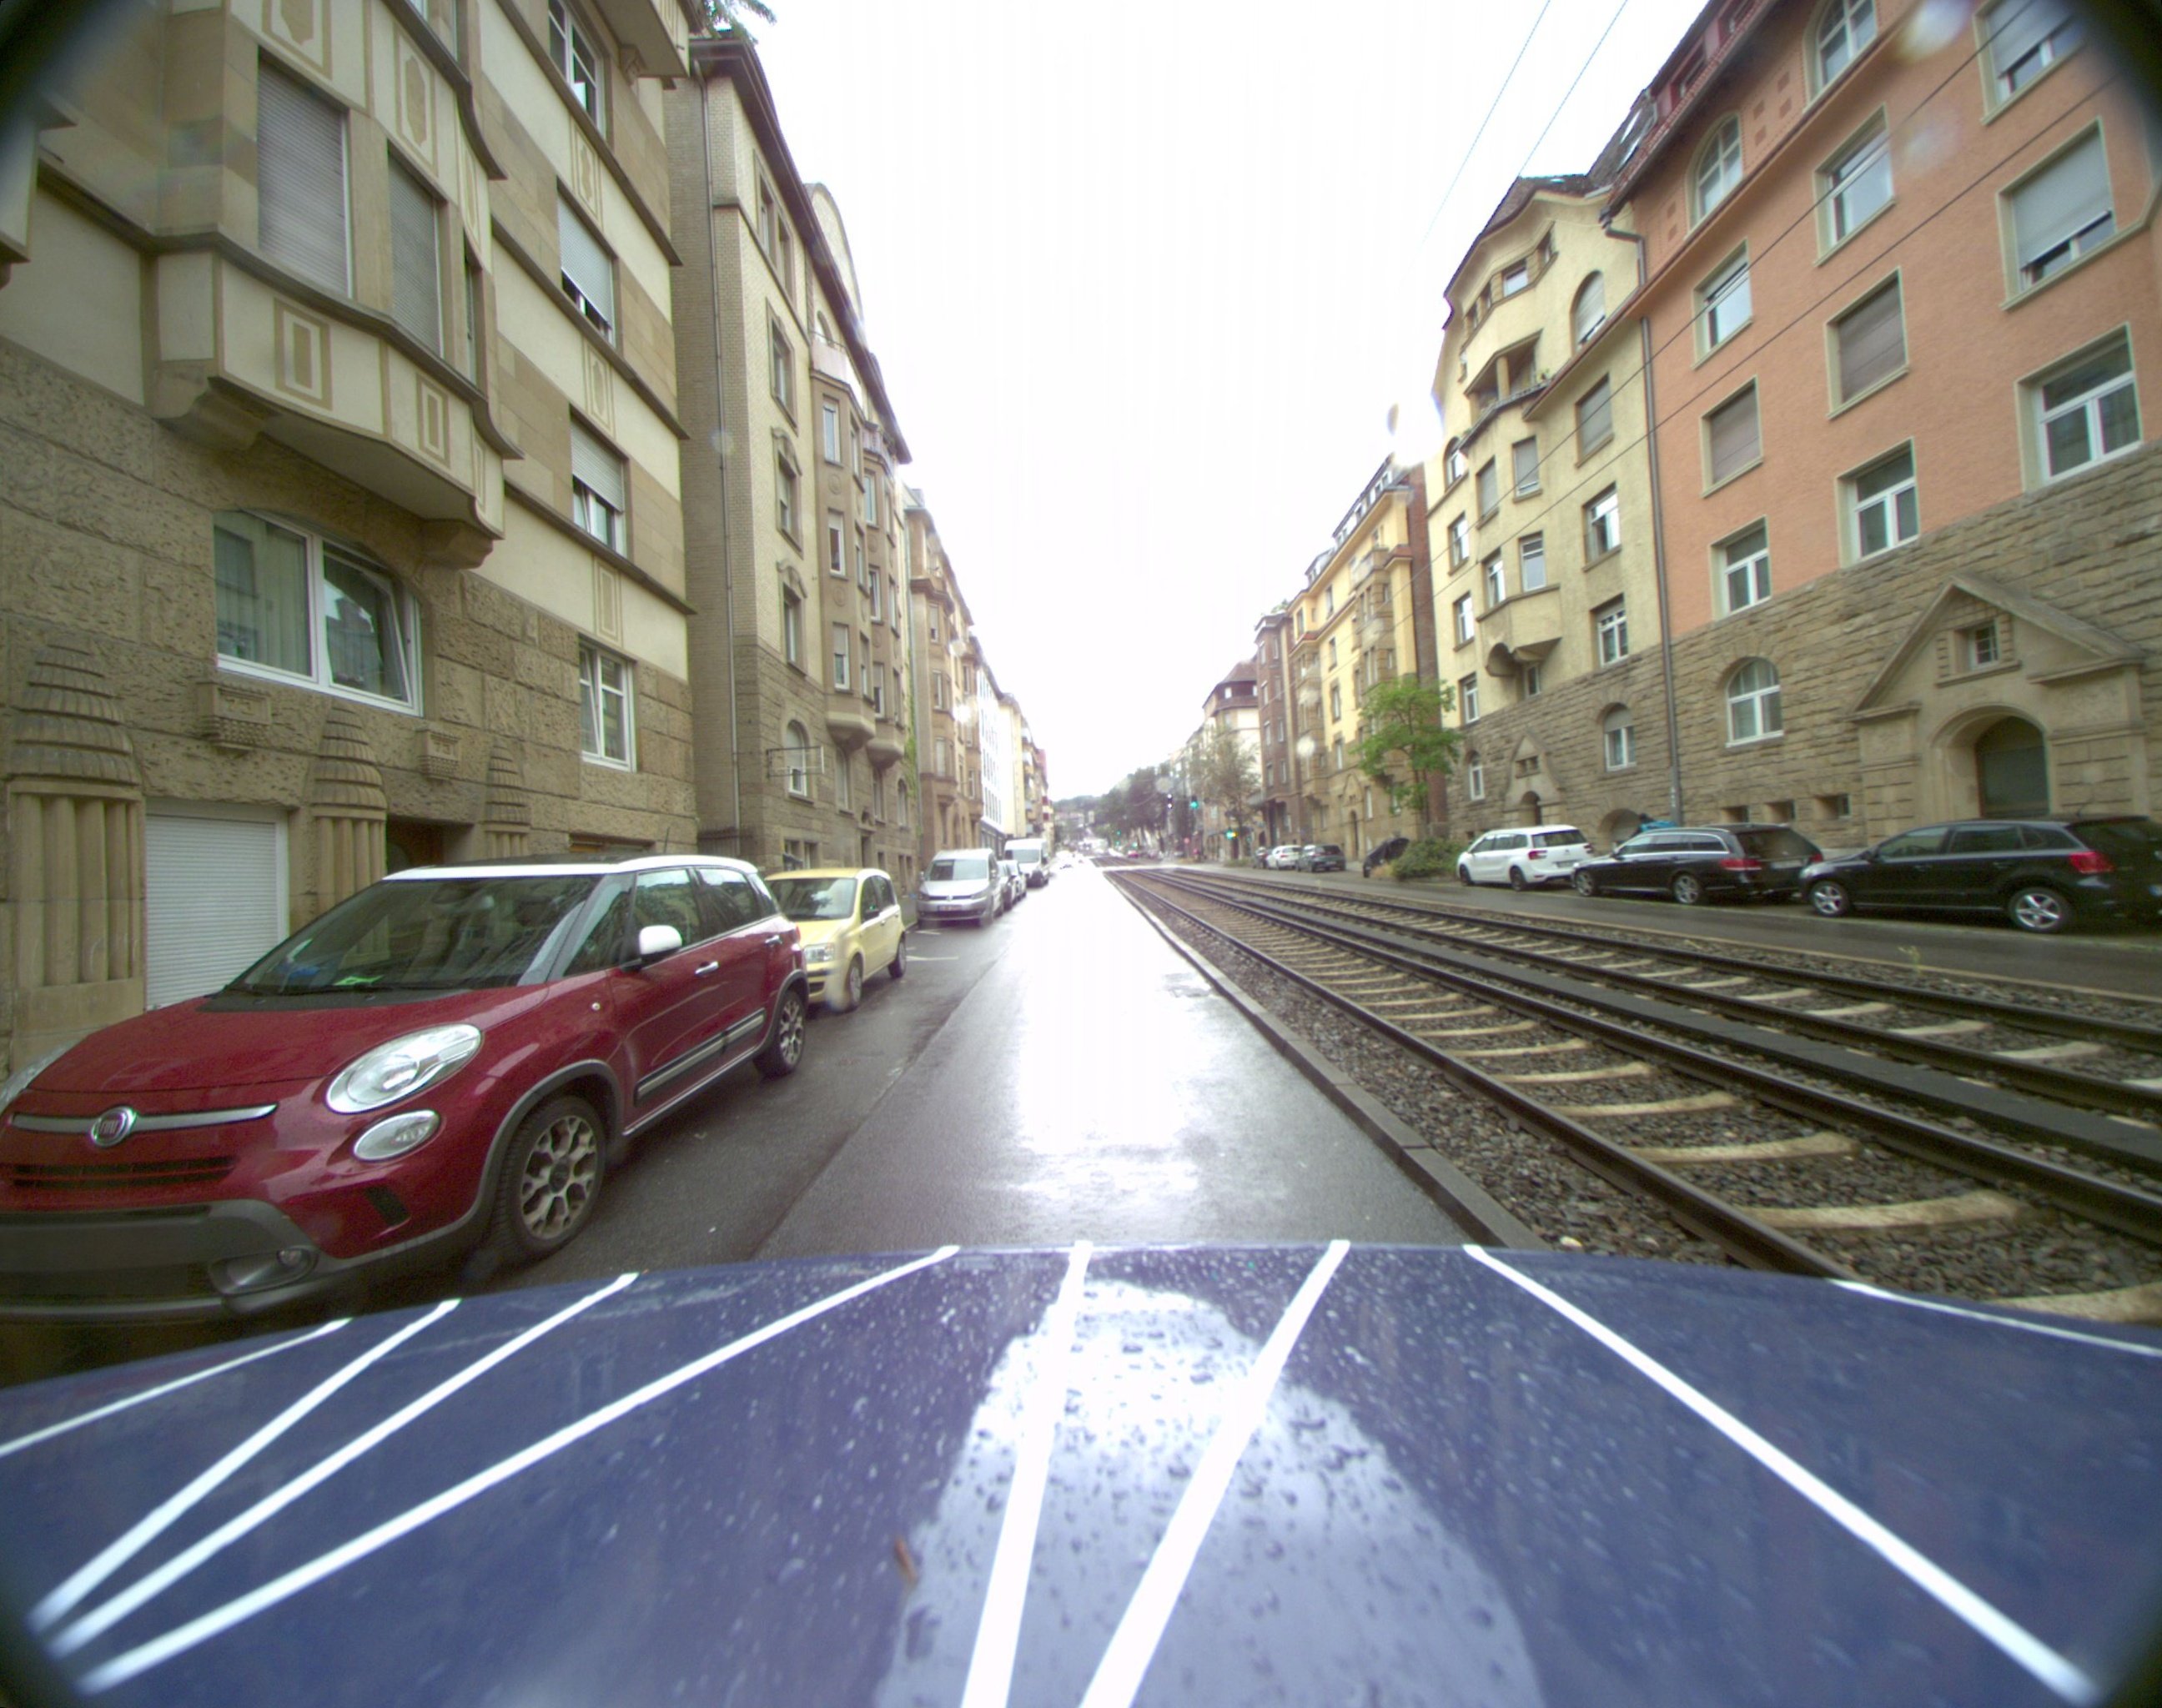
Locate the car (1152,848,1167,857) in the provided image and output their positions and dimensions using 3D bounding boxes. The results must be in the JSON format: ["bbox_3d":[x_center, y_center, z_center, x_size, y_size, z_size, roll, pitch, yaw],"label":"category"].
[{"bbox_3d":[11.947,-0.244,115.507,1.794,1.339,4.257,-2,1,0],"label":"car"}]

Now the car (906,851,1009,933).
[{"bbox_3d":[-2.944,0.833,18.937,1.811,1.758,3.962,-2,0,1],"label":"car"}]

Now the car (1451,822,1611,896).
[{"bbox_3d":[12.232,0.100,21.021,1.759,1.663,4.259,-5,1,0],"label":"car"}]

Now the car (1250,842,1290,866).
[{"bbox_3d":[12.578,-0.014,50.722,1.759,1.419,3.712,-5,1,2],"label":"car"}]

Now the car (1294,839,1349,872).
[{"bbox_3d":[12.498,0.062,39.679,1.717,1.473,3.712,-5,1,2],"label":"car"}]

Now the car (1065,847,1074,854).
[{"bbox_3d":[-2.689,-0.853,177.737,1.794,1.459,4.257,-2,1,1],"label":"car"}]

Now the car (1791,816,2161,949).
[{"bbox_3d":[12.449,0.292,10.452,1.760,1.396,3.694,-5,1,-2],"label":"car"}]

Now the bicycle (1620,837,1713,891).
[{"bbox_3d":[14.178,0.210,18.485,0.694,1.215,2.052,-2,1,1],"label":"bicycle"}]

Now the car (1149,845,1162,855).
[{"bbox_3d":[12.450,-0.644,127.094,1.794,1.609,4.257,-2,1,0],"label":"car"}]

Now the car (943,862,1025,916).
[{"bbox_3d":[-2.915,1.015,23.754,1.931,1.380,3.982,-3,0,1],"label":"car"}]

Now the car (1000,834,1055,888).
[{"bbox_3d":[-2.705,0.309,39.918,1.991,2.520,6.155,-3,0,3],"label":"car"}]

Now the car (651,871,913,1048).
[{"bbox_3d":[-3.222,1.041,8.968,1.632,1.502,3.531,-3,0,-1],"label":"car"}]

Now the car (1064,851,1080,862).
[{"bbox_3d":[-1.039,0.321,88.654,1.737,1.262,4.258,0,0,1],"label":"car"}]

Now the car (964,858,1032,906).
[{"bbox_3d":[-2.991,0.960,28.187,1.935,1.516,4.058,-3,0,1],"label":"car"}]

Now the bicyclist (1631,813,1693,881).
[{"bbox_3d":[14.156,-0.173,18.524,0.894,1.592,0.774,-2,1,1],"label":"bicyclist"}]

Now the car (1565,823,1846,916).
[{"bbox_3d":[12.208,0.241,15.357,1.760,1.482,4.597,-4,1,-1],"label":"car"}]

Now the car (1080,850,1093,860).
[{"bbox_3d":[0.853,0.175,114.003,1.794,1.339,4.257,-2,1,1],"label":"car"}]

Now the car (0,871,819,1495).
[{"bbox_3d":[-2.990,0.965,4.084,1.774,1.592,3.999,-1,0,-1],"label":"car"}]

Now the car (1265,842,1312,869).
[{"bbox_3d":[12.442,0.058,45.741,1.759,1.443,4.043,-5,1,2],"label":"car"}]

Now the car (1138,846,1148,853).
[{"bbox_3d":[12.808,-1.029,157.532,1.794,1.339,4.257,-2,1,0],"label":"car"}]
